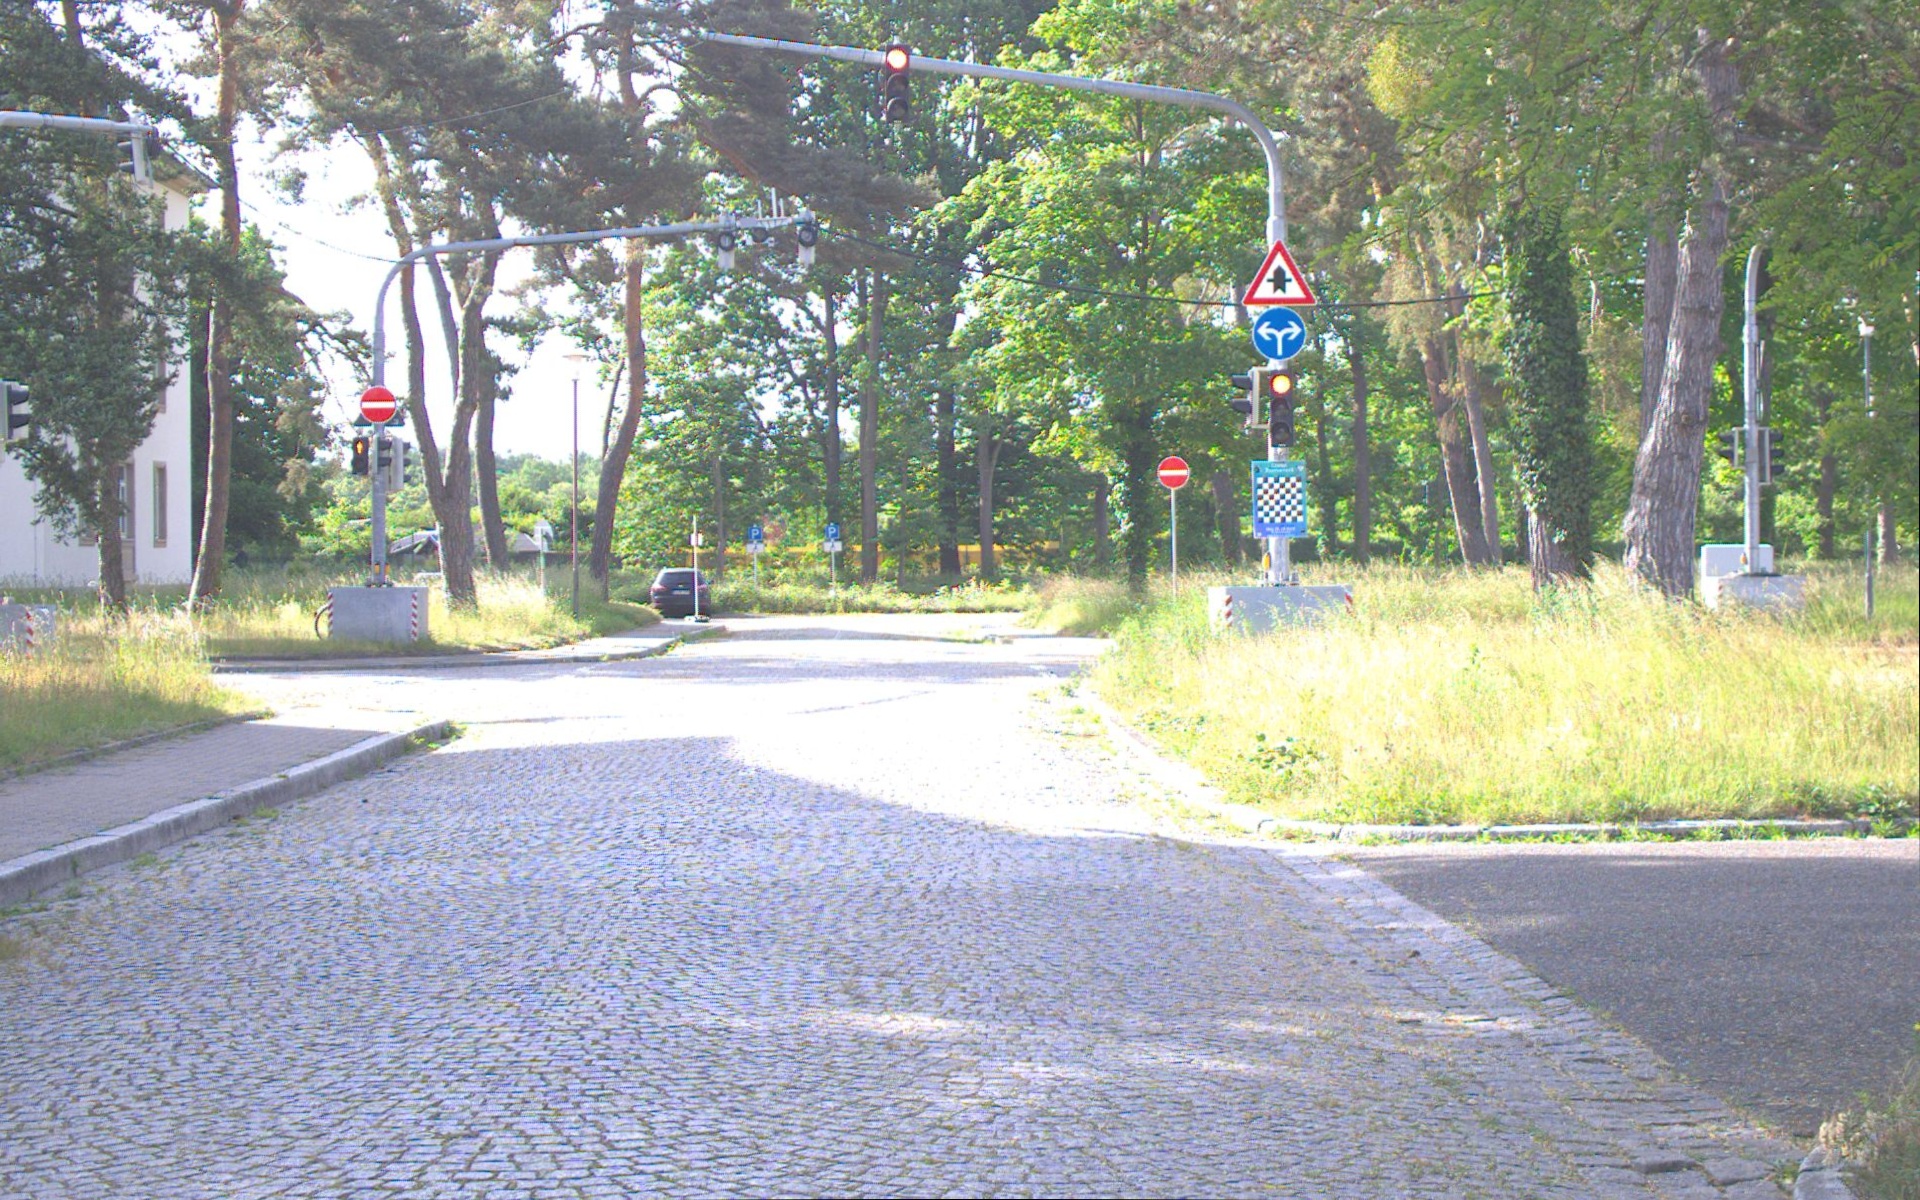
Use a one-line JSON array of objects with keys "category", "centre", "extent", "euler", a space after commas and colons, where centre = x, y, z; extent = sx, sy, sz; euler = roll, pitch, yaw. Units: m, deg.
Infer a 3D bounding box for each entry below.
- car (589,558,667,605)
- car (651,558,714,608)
[{"category": "car", "centre": [-10.665, -0.607, 110.669], "extent": [1.783, 1.485, 3.754], "euler": [0, 1, 6]}, {"category": "car", "centre": [-8.535, -0.538, 105.949], "extent": [1.844, 1.481, 4.001], "euler": [0, 1, -4]}]
